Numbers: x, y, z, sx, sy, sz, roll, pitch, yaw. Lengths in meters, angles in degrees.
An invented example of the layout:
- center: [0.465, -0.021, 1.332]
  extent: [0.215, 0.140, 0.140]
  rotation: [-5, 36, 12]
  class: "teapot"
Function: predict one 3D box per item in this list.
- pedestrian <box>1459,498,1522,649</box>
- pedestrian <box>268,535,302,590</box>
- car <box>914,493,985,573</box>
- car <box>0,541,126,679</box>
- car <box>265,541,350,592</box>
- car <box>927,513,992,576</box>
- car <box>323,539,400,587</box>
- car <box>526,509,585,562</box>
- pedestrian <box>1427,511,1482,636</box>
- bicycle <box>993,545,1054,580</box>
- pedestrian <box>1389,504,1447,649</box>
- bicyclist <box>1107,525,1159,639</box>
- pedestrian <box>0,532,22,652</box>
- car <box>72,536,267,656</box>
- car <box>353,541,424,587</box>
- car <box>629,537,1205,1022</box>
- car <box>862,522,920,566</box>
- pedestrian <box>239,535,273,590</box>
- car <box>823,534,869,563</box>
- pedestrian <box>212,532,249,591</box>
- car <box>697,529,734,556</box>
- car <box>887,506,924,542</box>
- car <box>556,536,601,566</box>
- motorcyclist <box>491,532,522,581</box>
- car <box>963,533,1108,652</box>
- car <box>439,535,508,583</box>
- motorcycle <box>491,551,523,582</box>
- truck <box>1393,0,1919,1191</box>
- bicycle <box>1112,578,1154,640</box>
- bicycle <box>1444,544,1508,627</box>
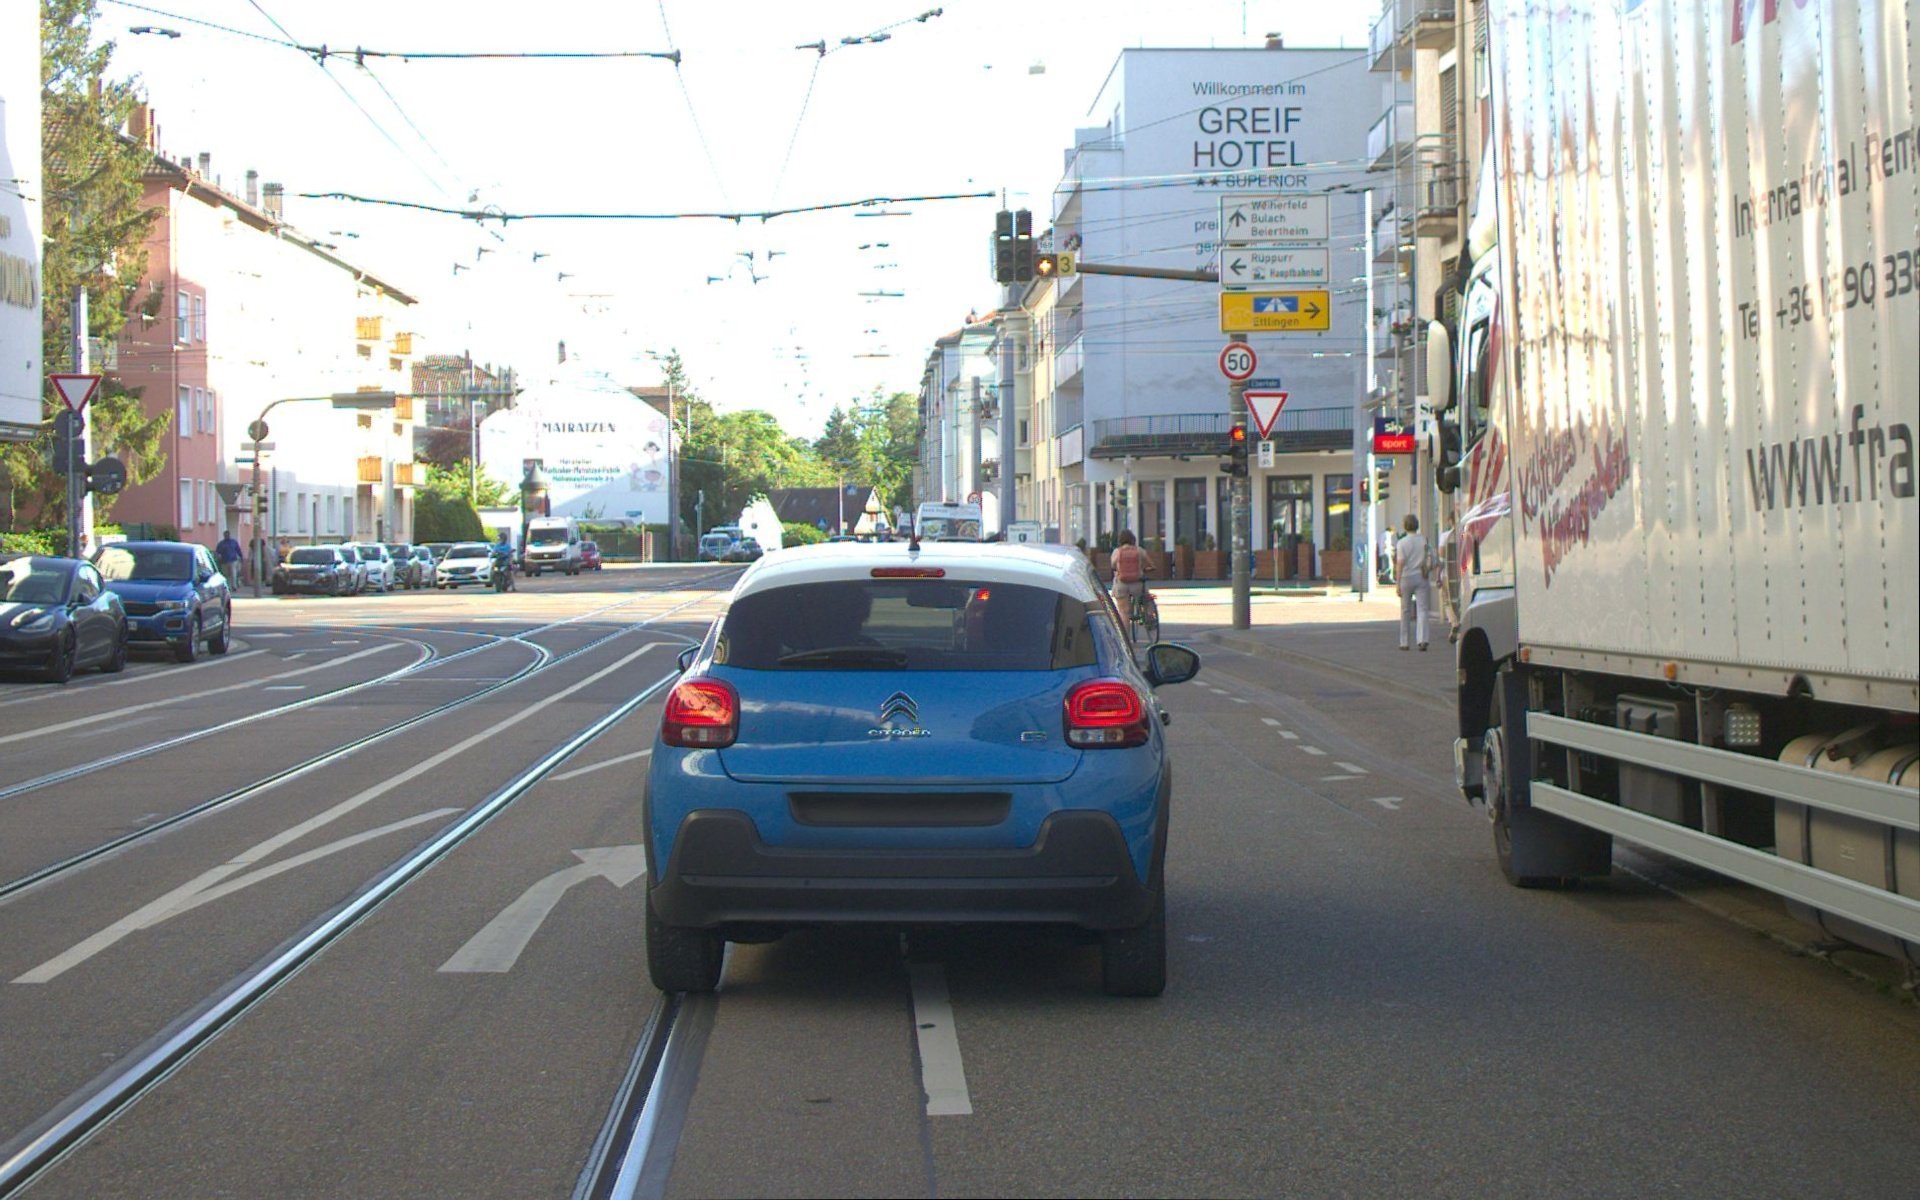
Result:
- center: [5.955, -0.303, 38.586]
  extent: [0.541, 1.666, 0.650]
  rotation: [-2, 1, 0]
  class: "pedestrian"
- center: [-20.772, -1.149, 105.760]
  extent: [0.844, 1.684, 0.737]
  rotation: [0, 1, 4]
  class: "pedestrian"
- center: [-0.329, -1.992, 102.299]
  extent: [1.993, 2.317, 4.000]
  rotation: [1, 1, -2]
  class: "car"
- center: [-11.010, 0.075, 39.850]
  extent: [1.699, 1.504, 4.312]
  rotation: [1, 1, -1]
  class: "car"
- center: [-18.834, -0.982, 99.373]
  extent: [1.911, 1.428, 4.001]
  rotation: [-1, 1, -4]
  class: "car"
- center: [-0.021, -1.570, 97.375]
  extent: [1.732, 1.744, 3.214]
  rotation: [1, 1, -2]
  class: "car"
- center: [-19.072, -1.194, 109.737]
  extent: [1.911, 1.492, 4.001]
  rotation: [-1, 1, -2]
  class: "car"
- center: [-17.602, -2.804, 149.765]
  extent: [2.206, 2.243, 4.677]
  rotation: [-1, 1, -2]
  class: "car"
- center: [6.082, -0.331, 42.271]
  extent: [0.541, 1.502, 0.611]
  rotation: [-2, 3, 0]
  class: "pedestrian"
- center: [1.813, -1.071, 98.201]
  extent: [1.720, 0.953, 0.701]
  rotation: [0, 1, 3]
  class: "bicycle"
- center: [5.411, -0.287, 40.618]
  extent: [0.541, 1.666, 0.624]
  rotation: [-2, 3, 0]
  class: "pedestrian"
- center: [2.512, -0.267, 49.866]
  extent: [0.726, 1.640, 0.790]
  rotation: [0, 1, 2]
  class: "bicyclist"
- center: [-12.659, -0.112, 44.687]
  extent: [0.697, 1.543, 0.721]
  rotation: [0, 2, 2]
  class: "pedestrian"
- center: [-10.532, -0.070, 46.069]
  extent: [1.744, 1.504, 4.000]
  rotation: [1, 1, -1]
  class: "car"
- center: [-19.352, -1.239, 116.534]
  extent: [1.911, 1.492, 4.001]
  rotation: [-1, 1, -2]
  class: "car"
- center: [-0.282, 0.518, 12.532]
  extent: [1.743, 1.457, 4.001]
  rotation: [1, 1, -4]
  class: "car"
- center: [-2.432, -1.971, 120.981]
  extent: [1.993, 1.503, 4.000]
  rotation: [0, 1, -2]
  class: "car"
- center: [-21.653, -1.158, 105.683]
  extent: [0.844, 1.684, 0.737]
  rotation: [0, 1, 4]
  class: "pedestrian"
- center: [-4.938, -2.228, 148.046]
  extent: [1.754, 1.255, 3.833]
  rotation: [0, 1, -5]
  class: "car"
- center: [-20.995, -1.104, 98.967]
  extent: [0.844, 1.684, 0.737]
  rotation: [0, 1, 4]
  class: "pedestrian"
- center: [-14.201, -3.338, 199.829]
  extent: [2.021, 1.520, 4.001]
  rotation: [0, 1, -2]
  class: "car"
- center: [-2.540, -3.564, 161.378]
  extent: [1.689, 1.612, 4.000]
  rotation: [1, 1, -1]
  class: "car"
- center: [-19.405, -2.495, 175.103]
  extent: [2.021, 1.520, 4.001]
  rotation: [0, 1, -2]
  class: "car"
- center: [-12.851, -1.230, 97.446]
  extent: [0.719, 1.373, 0.911]
  rotation: [0, 1, 2]
  class: "motorcyclist"
- center: [0.957, -0.127, 43.389]
  extent: [1.738, 1.415, 4.000]
  rotation: [0, 1, 1]
  class: "car"
- center: [-16.229, -1.377, 114.810]
  extent: [1.849, 1.568, 4.402]
  rotation: [0, 1, -2]
  class: "car"
- center: [-12.855, -0.946, 97.606]
  extent: [0.615, 0.861, 1.671]
  rotation: [0, 1, 2]
  class: "motorcycle"
- center: [3.557, -0.774, 10.540]
  extent: [2.860, 4.059, 11.779]
  rotation: [-1, 1, 0]
  class: "truck"
- center: [2.524, 0.129, 50.359]
  extent: [0.498, 0.861, 1.749]
  rotation: [0, 1, -1]
  class: "bicycle"
- center: [6.877, -0.204, 45.866]
  extent: [0.530, 1.068, 1.811]
  rotation: [0, 1, -2]
  class: "bicycle"
